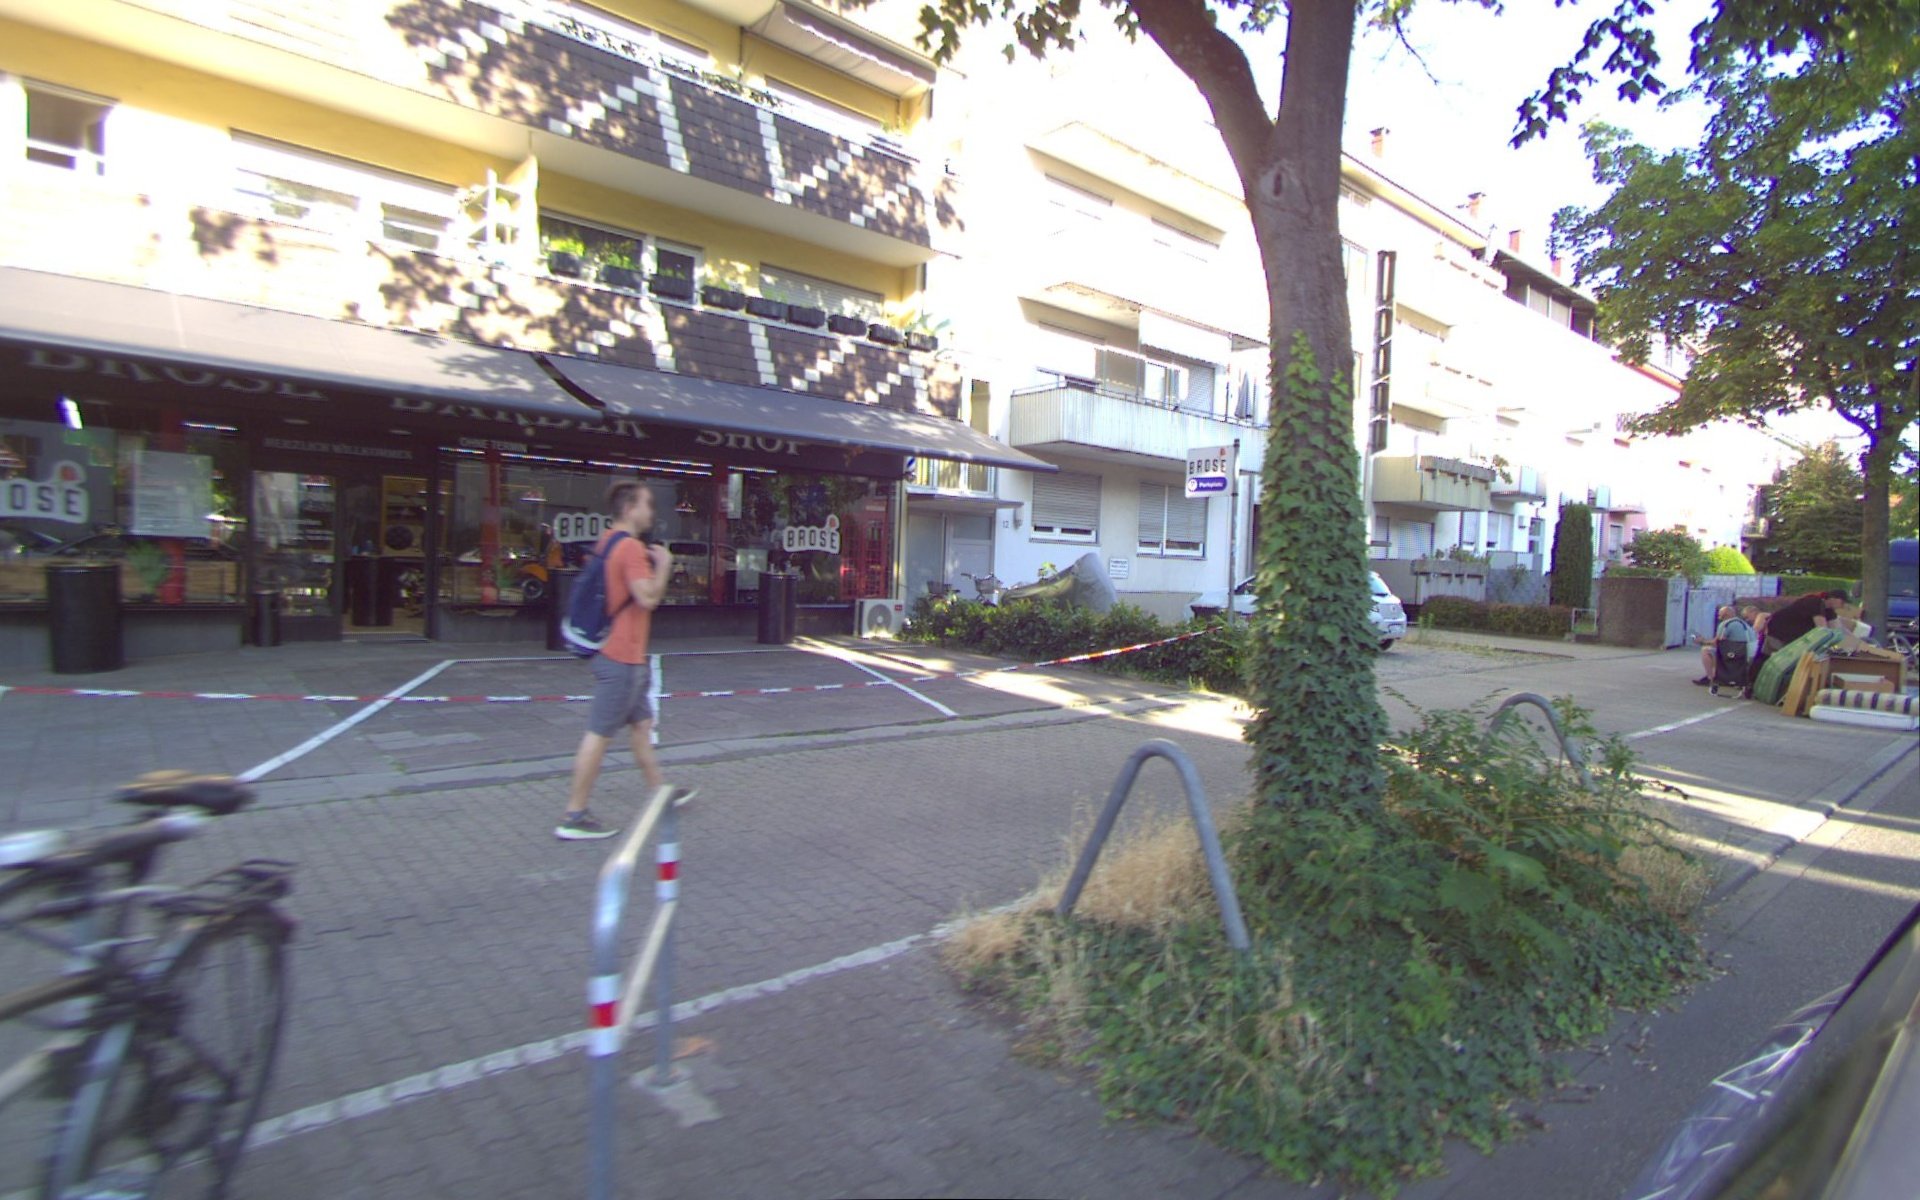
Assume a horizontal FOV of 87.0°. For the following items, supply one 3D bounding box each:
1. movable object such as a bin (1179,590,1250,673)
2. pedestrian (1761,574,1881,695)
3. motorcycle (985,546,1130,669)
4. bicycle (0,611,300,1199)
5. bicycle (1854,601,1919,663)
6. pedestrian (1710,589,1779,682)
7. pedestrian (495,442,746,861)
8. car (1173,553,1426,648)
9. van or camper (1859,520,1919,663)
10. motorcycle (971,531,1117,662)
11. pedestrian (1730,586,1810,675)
[{"bbox_3d":[3.096,0.369,12.338,0.530,0.961,0.614,1,2,-40],"label":"movable object such as a bin"},{"bbox_3d":[11.214,0.427,13.214,1.057,1.494,0.474,3,2,31],"label":"pedestrian"},{"bbox_3d":[1.371,0.054,14.795,0.872,1.641,2.203,1,2,-34],"label":"motorcycle"},{"bbox_3d":[-1.436,0.718,1.466,0.622,1.241,1.680,1,4,-28],"label":"bicycle"},{"bbox_3d":[17.914,0.614,18.925,0.397,1.102,1.707,1,2,-37],"label":"bicycle"},{"bbox_3d":[11.249,0.492,14.531,0.650,1.270,0.651,3,2,30],"label":"pedestrian"},{"bbox_3d":[-1.662,0.207,4.968,0.756,1.818,0.891,3,2,45],"label":"pedestrian"},{"bbox_3d":[6.090,-0.059,18.487,1.794,1.480,3.992,0,3,-43],"label":"car"},{"bbox_3d":[20.520,-0.191,20.900,5.885,2.708,2.072,-1,3,-41],"label":"van or camper"},{"bbox_3d":[1.088,-0.096,13.741,0.717,1.641,2.203,1,2,-34],"label":"motorcycle"},{"bbox_3d":[12.227,0.437,15.277,0.689,1.270,0.798,0,2,-43],"label":"pedestrian"}]
